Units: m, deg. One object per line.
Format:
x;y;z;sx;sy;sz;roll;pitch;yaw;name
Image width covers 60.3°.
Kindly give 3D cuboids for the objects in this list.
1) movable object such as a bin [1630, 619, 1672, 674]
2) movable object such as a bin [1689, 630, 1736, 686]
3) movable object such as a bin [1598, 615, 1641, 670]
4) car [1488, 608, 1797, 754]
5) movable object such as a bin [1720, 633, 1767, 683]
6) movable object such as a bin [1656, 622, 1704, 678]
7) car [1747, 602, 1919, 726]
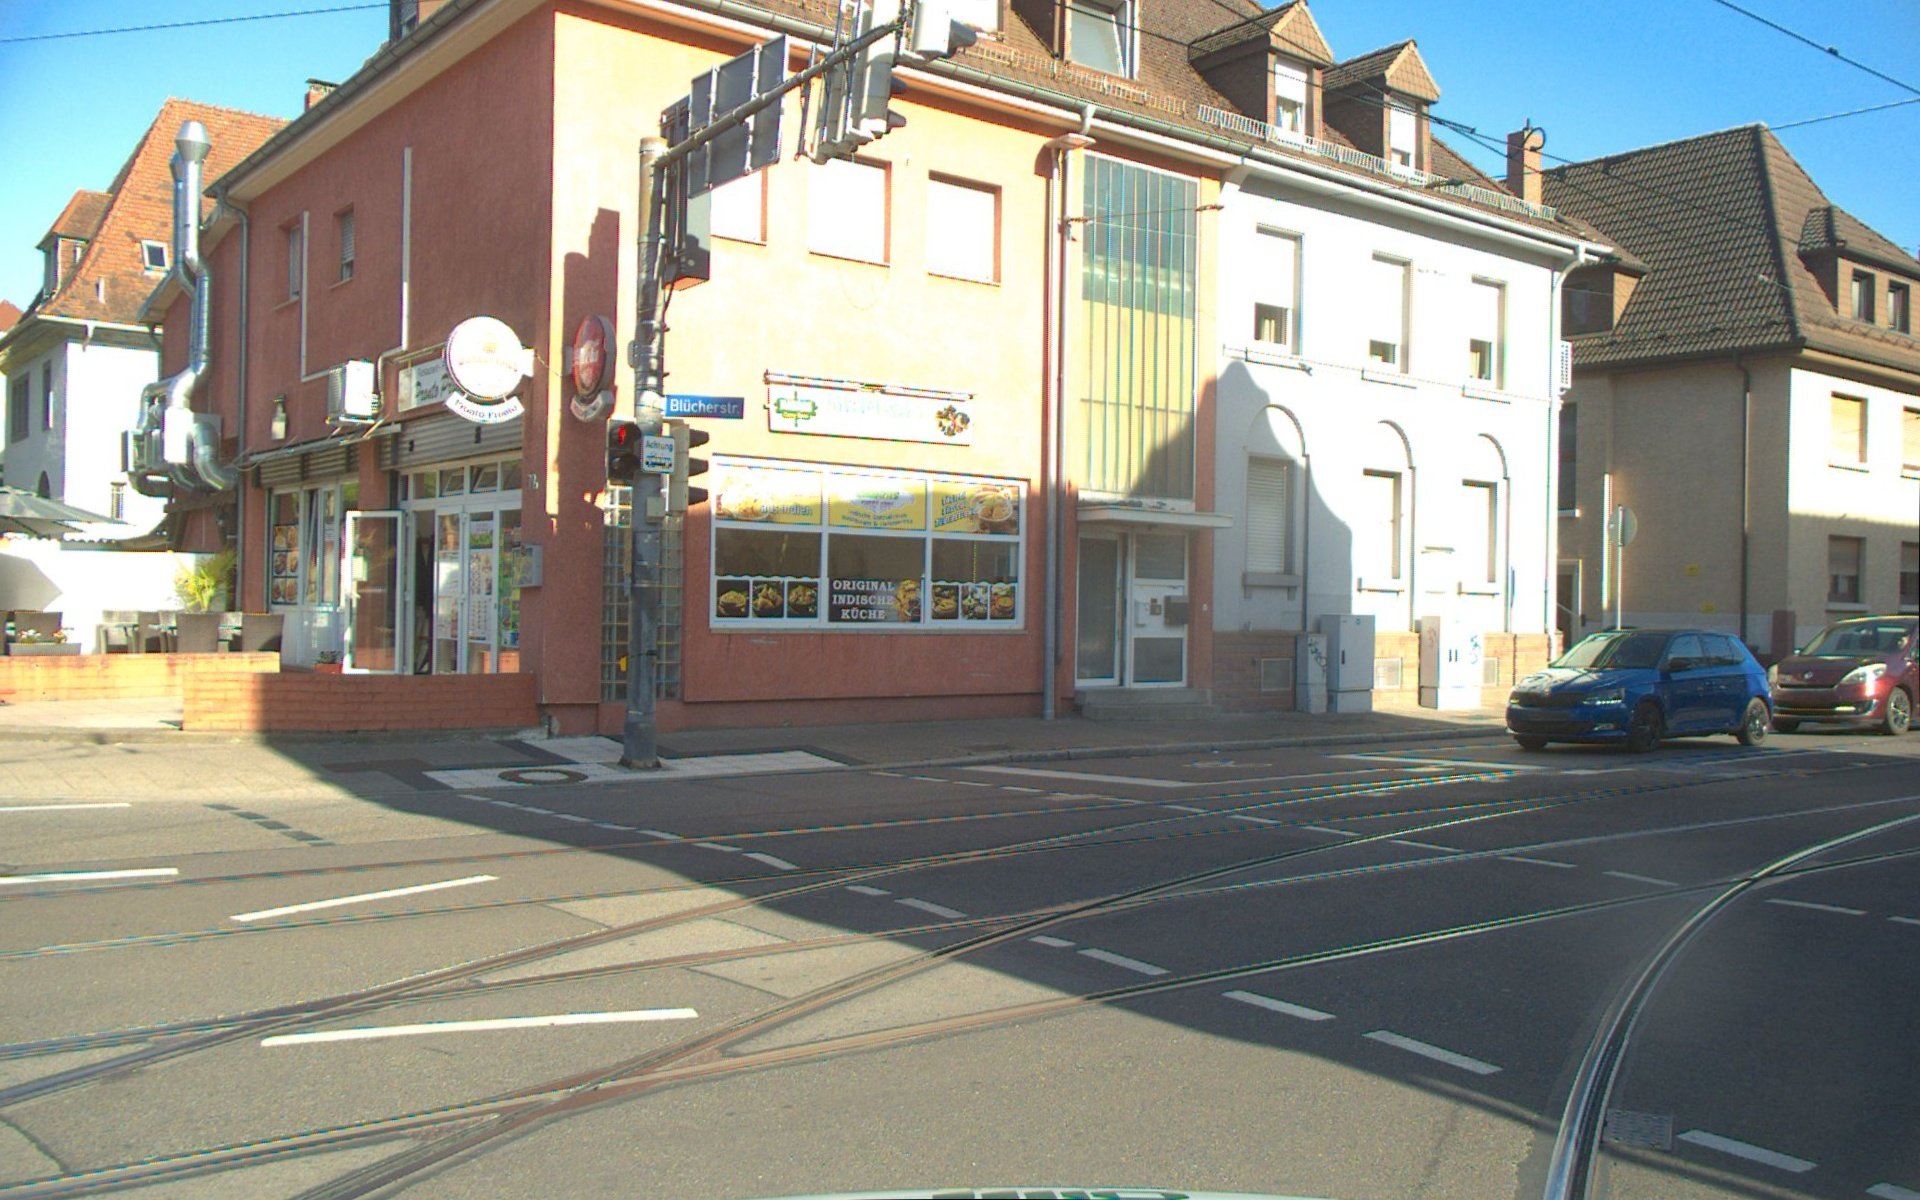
14.766;0.982;35.343;0.584;1.130;0.563;1;2;-38;movable object such as a bin
15.596;1.196;34.281;0.665;1.098;0.609;1;2;-38;movable object such as a bin
14.325;0.918;35.914;0.584;1.130;0.609;1;2;-38;movable object such as a bin
8.254;0.924;19.905;3.885;1.595;1.667;1;-2;-36;car
15.996;1.173;33.771;0.576;0.961;0.651;1;2;-38;movable object such as a bin
15.161;1.044;34.838;0.665;1.130;0.635;1;2;-38;movable object such as a bin
13.473;0.891;23.888;4.658;1.639;1.723;1;-2;-34;car
